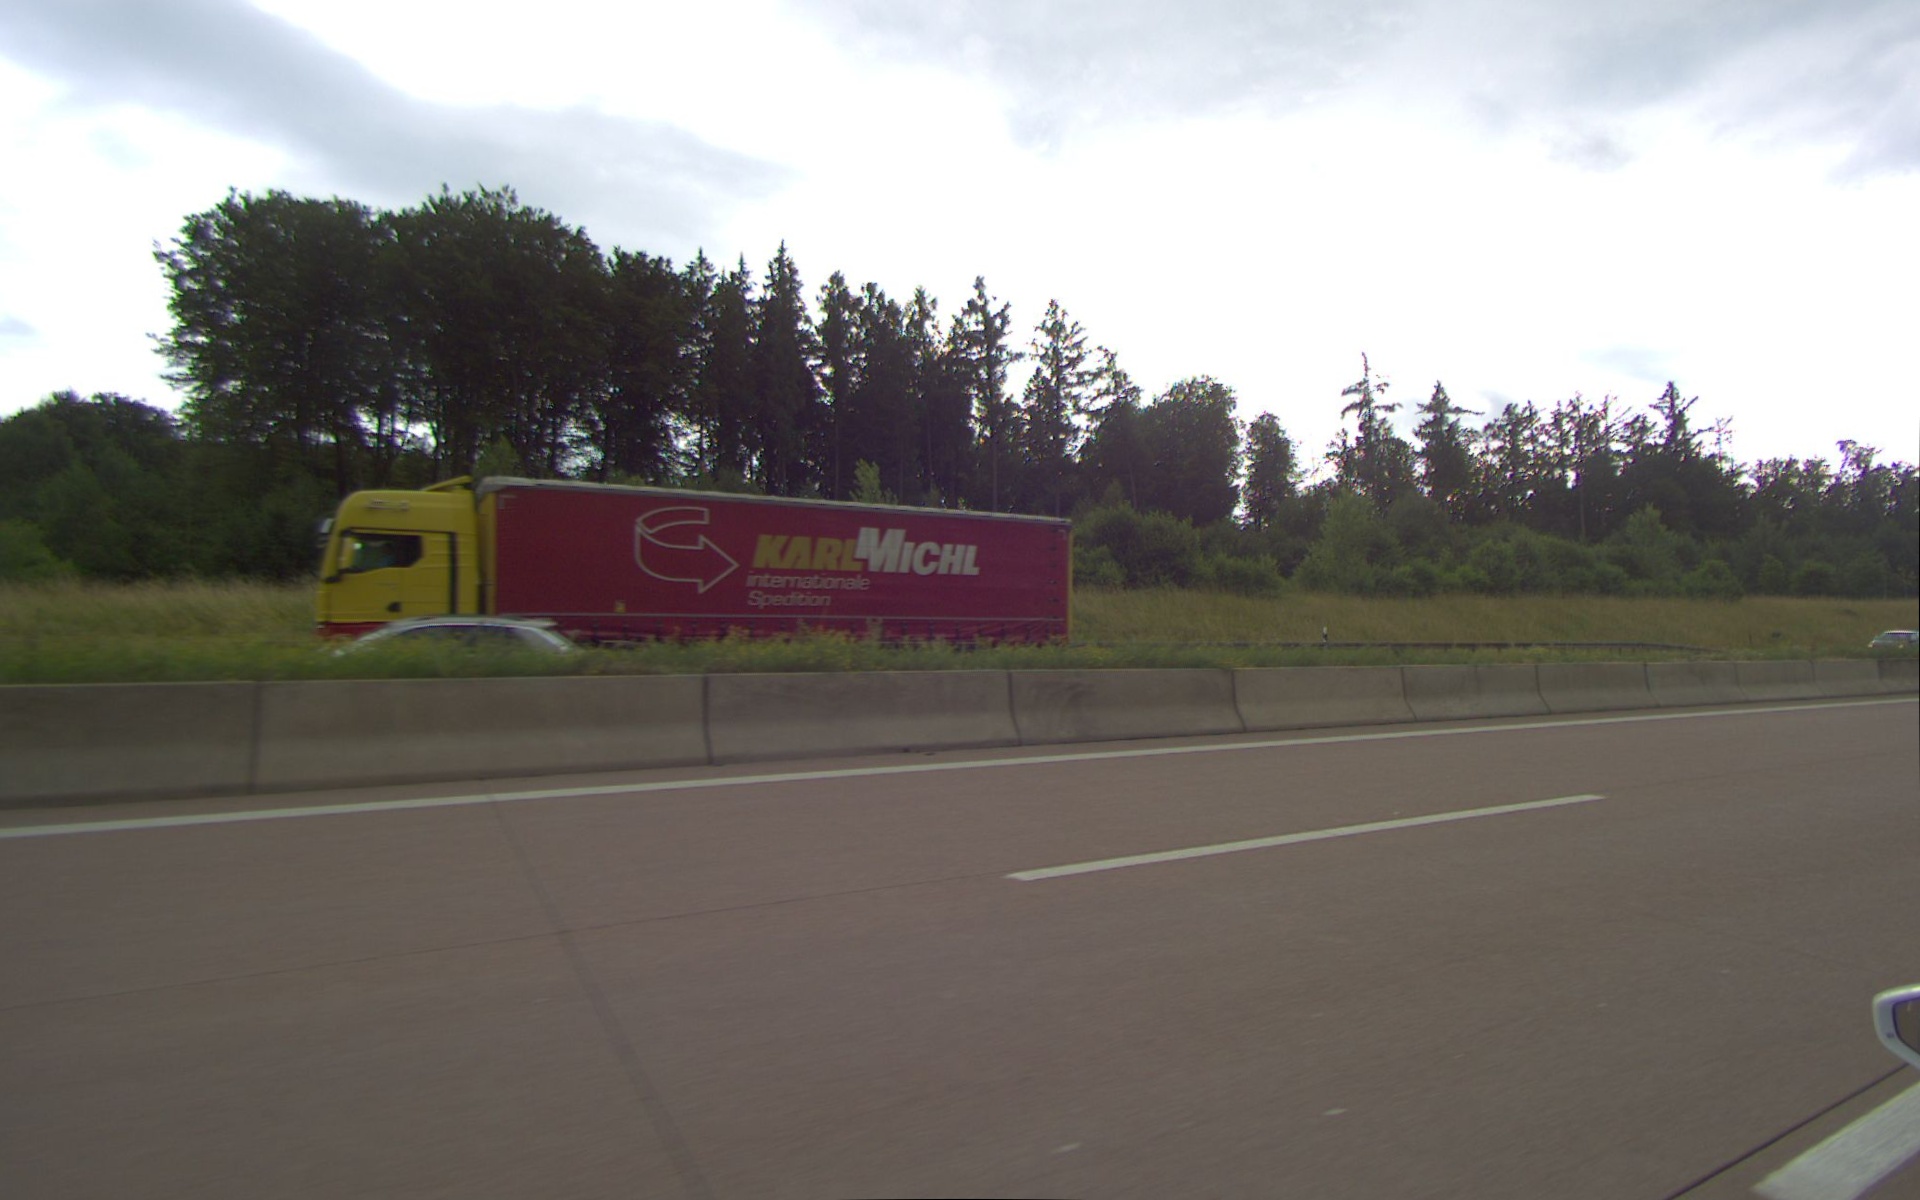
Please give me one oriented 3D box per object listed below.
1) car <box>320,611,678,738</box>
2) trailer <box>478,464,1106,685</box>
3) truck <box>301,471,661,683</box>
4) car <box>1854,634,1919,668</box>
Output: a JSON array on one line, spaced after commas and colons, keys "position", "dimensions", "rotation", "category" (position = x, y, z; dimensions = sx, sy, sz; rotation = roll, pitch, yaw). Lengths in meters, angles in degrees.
[{"position": [-5.903, 0.901, 13.066], "dimensions": [3.985, 1.421, 1.732], "rotation": [2, -1, -31], "category": "car"}, {"position": [-3.237, -0.404, 23.484], "dimensions": [14.355, 4.095, 3.019], "rotation": [1, 0, -30], "category": "trailer"}, {"position": [-9.361, -0.318, 20.019], "dimensions": [5.984, 3.630, 2.999], "rotation": [2, 0, -29], "category": "truck"}, {"position": [50.064, 2.774, 53.930], "dimensions": [4.328, 1.660, 1.754], "rotation": [3, -1, -29], "category": "car"}]
